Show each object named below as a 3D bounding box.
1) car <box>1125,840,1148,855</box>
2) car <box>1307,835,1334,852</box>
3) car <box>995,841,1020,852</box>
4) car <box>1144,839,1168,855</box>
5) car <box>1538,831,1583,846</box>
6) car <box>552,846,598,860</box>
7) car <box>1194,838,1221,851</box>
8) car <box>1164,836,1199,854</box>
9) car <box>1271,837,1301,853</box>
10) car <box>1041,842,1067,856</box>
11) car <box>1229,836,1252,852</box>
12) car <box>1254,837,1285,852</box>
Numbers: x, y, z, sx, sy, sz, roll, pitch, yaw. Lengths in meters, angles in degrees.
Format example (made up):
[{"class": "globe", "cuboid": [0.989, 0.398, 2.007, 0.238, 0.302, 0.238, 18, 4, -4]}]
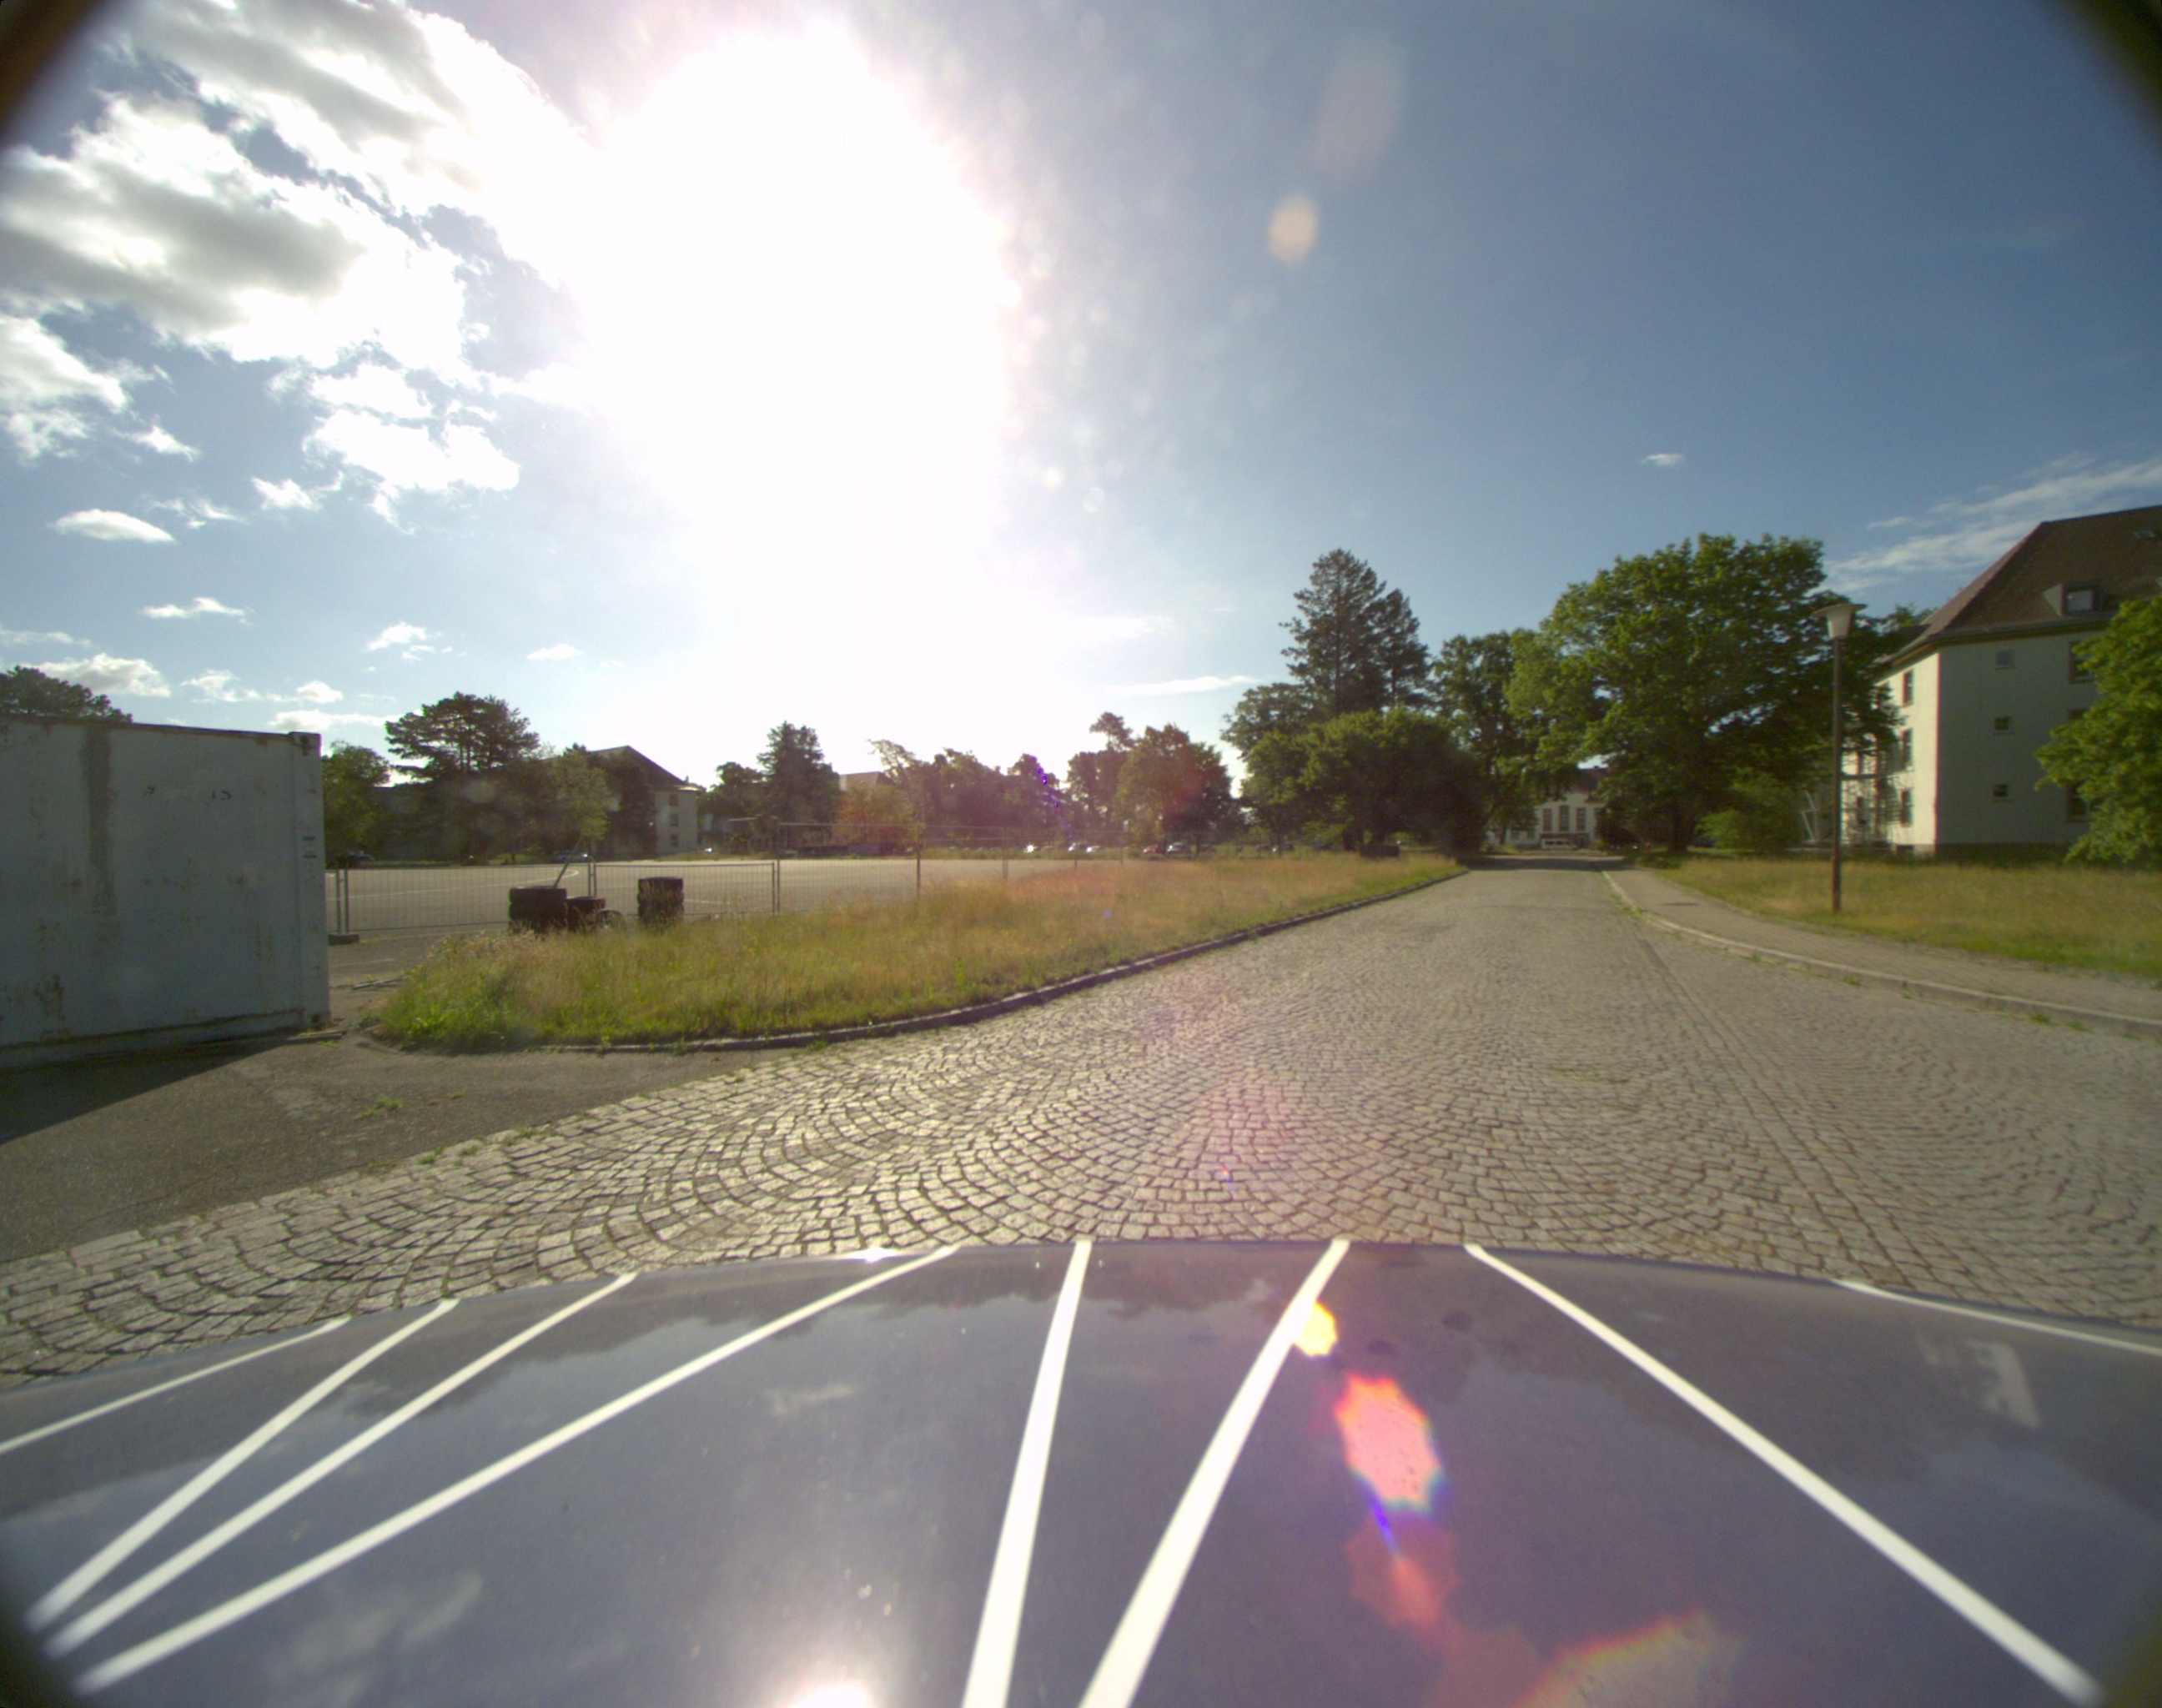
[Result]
[{"class": "car", "cuboid": [7.618, -0.857, 104.029, 1.738, 2.002, 3.626, 0, 2, 32]}, {"class": "car", "cuboid": [28.499, -1.280, 90.328, 2.241, 2.002, 4.357, 0, 2, 30]}, {"class": "car", "cuboid": [-11.226, -1.147, 116.308, 1.738, 1.649, 3.859, 0, 2, 35]}, {"class": "car", "cuboid": [10.142, -0.950, 102.776, 1.738, 2.002, 3.626, 0, 2, 32]}, {"class": "car", "cuboid": [82.738, -2.687, 131.178, 6.431, 2.452, 2.468, 0, 2, 34]}, {"class": "car", "cuboid": [-60.285, -0.140, 90.540, 1.994, 1.573, 4.007, 0, 2, 29]}, {"class": "car", "cuboid": [16.485, -1.259, 98.709, 1.994, 1.642, 4.007, 0, 2, 32]}, {"class": "car", "cuboid": [13.381, -1.227, 100.867, 1.995, 2.002, 6.044, -2, 2, 34]}, {"class": "car", "cuboid": [25.067, -1.087, 92.880, 2.241, 1.828, 4.357, 0, 2, 34]}, {"class": "car", "cuboid": [-3.936, -0.773, 111.853, 1.738, 2.002, 3.859, 0, 2, 35]}, {"class": "car", "cuboid": [20.413, -1.318, 97.217, 1.738, 2.002, 3.626, 0, 2, 32]}, {"class": "car", "cuboid": [23.536, -1.241, 94.851, 2.241, 1.828, 4.358, 0, 2, 37]}]
